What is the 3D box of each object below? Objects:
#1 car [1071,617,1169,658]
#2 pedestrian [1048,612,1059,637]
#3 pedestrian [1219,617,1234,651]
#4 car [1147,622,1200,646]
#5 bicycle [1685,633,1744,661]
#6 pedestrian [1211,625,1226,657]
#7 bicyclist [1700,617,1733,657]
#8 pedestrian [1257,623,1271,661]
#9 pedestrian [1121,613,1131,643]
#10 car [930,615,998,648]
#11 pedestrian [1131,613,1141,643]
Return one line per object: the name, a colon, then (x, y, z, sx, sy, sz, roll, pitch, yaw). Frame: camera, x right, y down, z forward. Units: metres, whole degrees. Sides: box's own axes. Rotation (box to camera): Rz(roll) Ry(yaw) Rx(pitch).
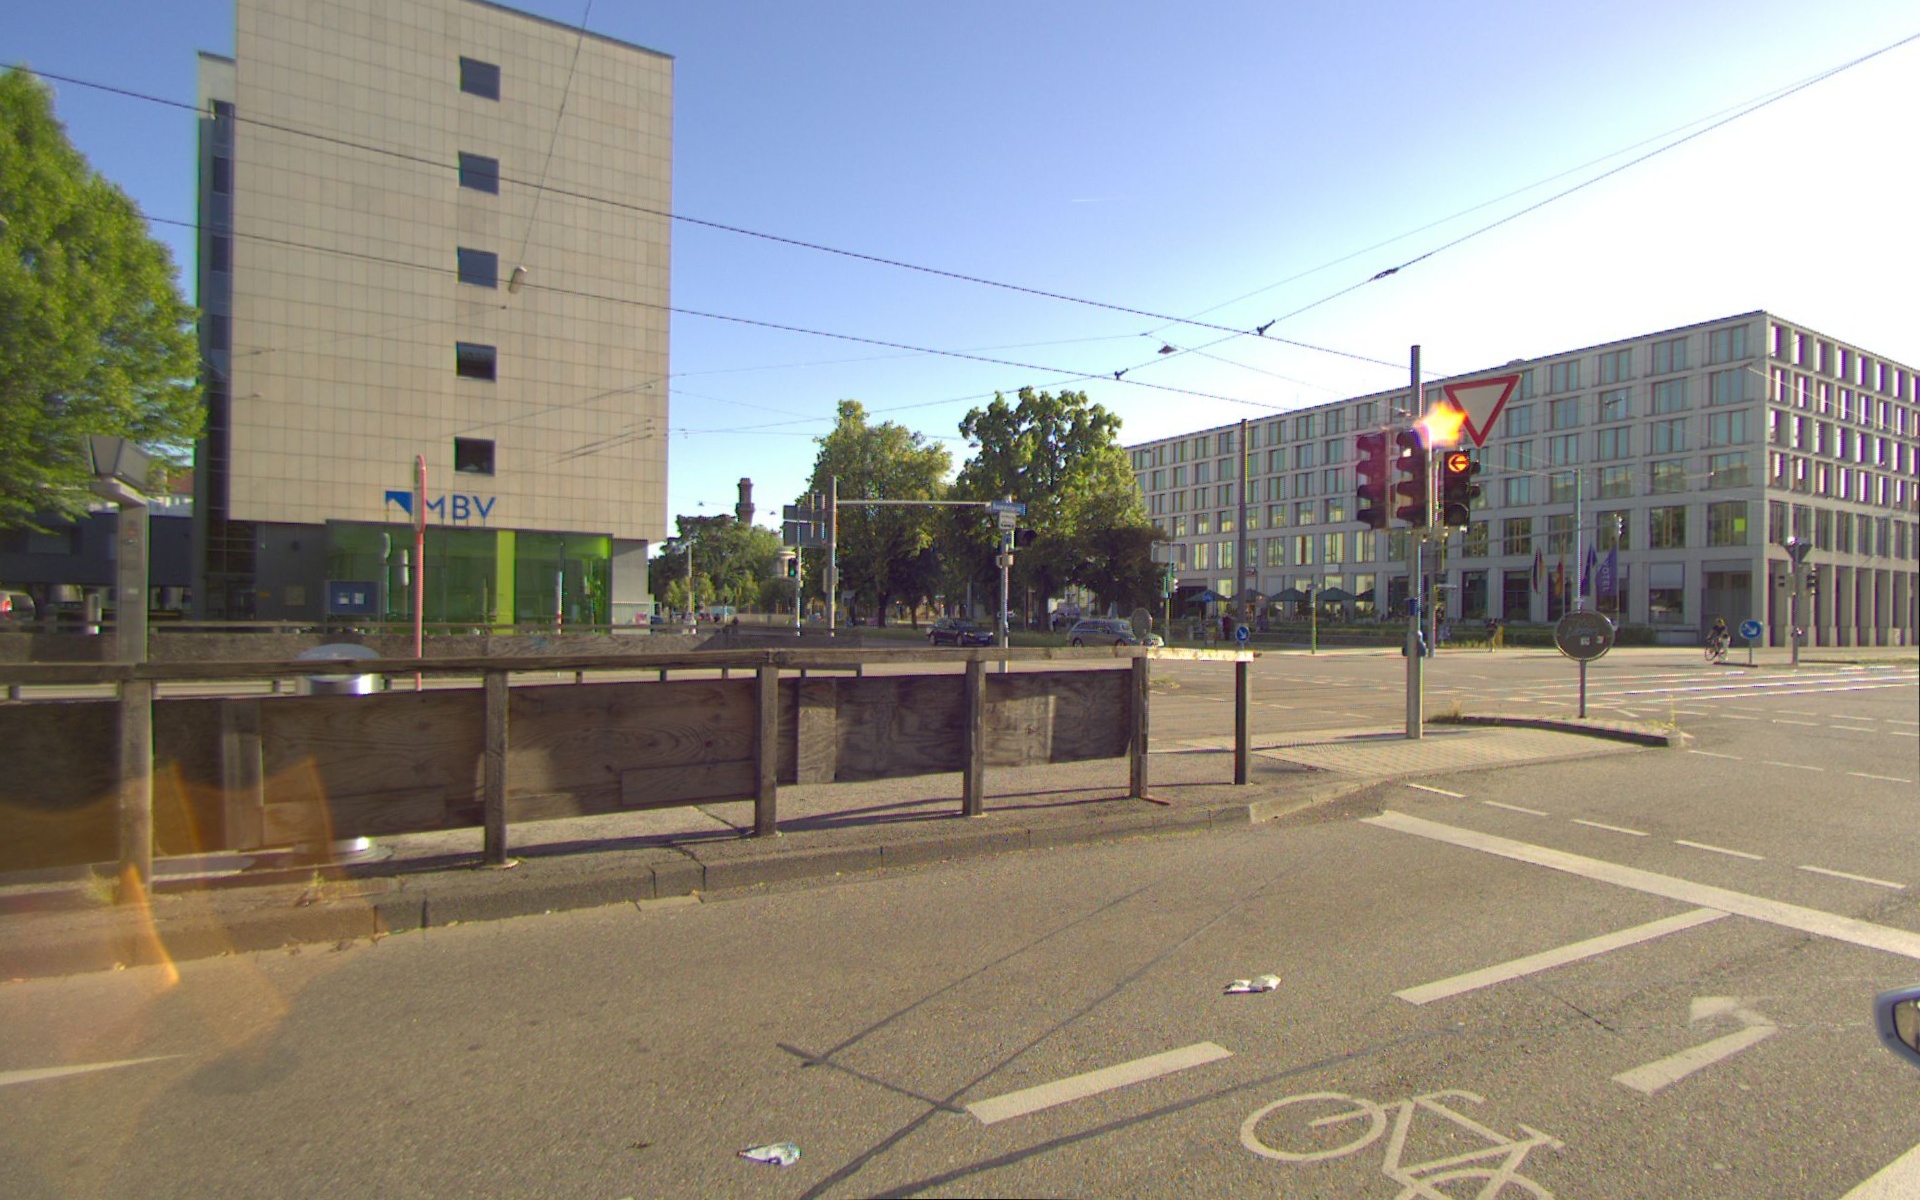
car: (6.457, 1.494, 40.936, 1.708, 1.595, 4.140, 1, -1, -31)
pedestrian: (7.193, 1.903, 77.046, 0.672, 1.928, 0.560, 1, -1, -21)
pedestrian: (16.484, 2.097, 62.199, 0.644, 2.096, 0.645, 1, -1, -36)
car: (13.463, 2.114, 63.357, 1.456, 1.457, 3.165, 1, -1, -34)
bicycle: (31.809, 1.984, 42.306, 2.976, 1.136, 0.871, 1, -1, -29)
pedestrian: (16.471, 2.617, 64.068, 0.793, 2.040, 0.526, 1, -1, -36)
bicyclist: (31.867, 1.547, 42.317, 0.812, 1.663, 0.872, 1, -1, -29)
pedestrian: (18.501, 2.552, 61.149, 0.528, 2.310, 0.565, 1, -1, -36)
pedestrian: (11.386, 1.898, 69.000, 0.483, 2.040, 0.493, 1, -1, -17)
car: (0.175, 1.589, 52.236, 1.801, 1.595, 3.967, 0, 0, -31)
pedestrian: (12.163, 1.924, 69.403, 0.483, 2.040, 0.493, 1, -1, -17)
